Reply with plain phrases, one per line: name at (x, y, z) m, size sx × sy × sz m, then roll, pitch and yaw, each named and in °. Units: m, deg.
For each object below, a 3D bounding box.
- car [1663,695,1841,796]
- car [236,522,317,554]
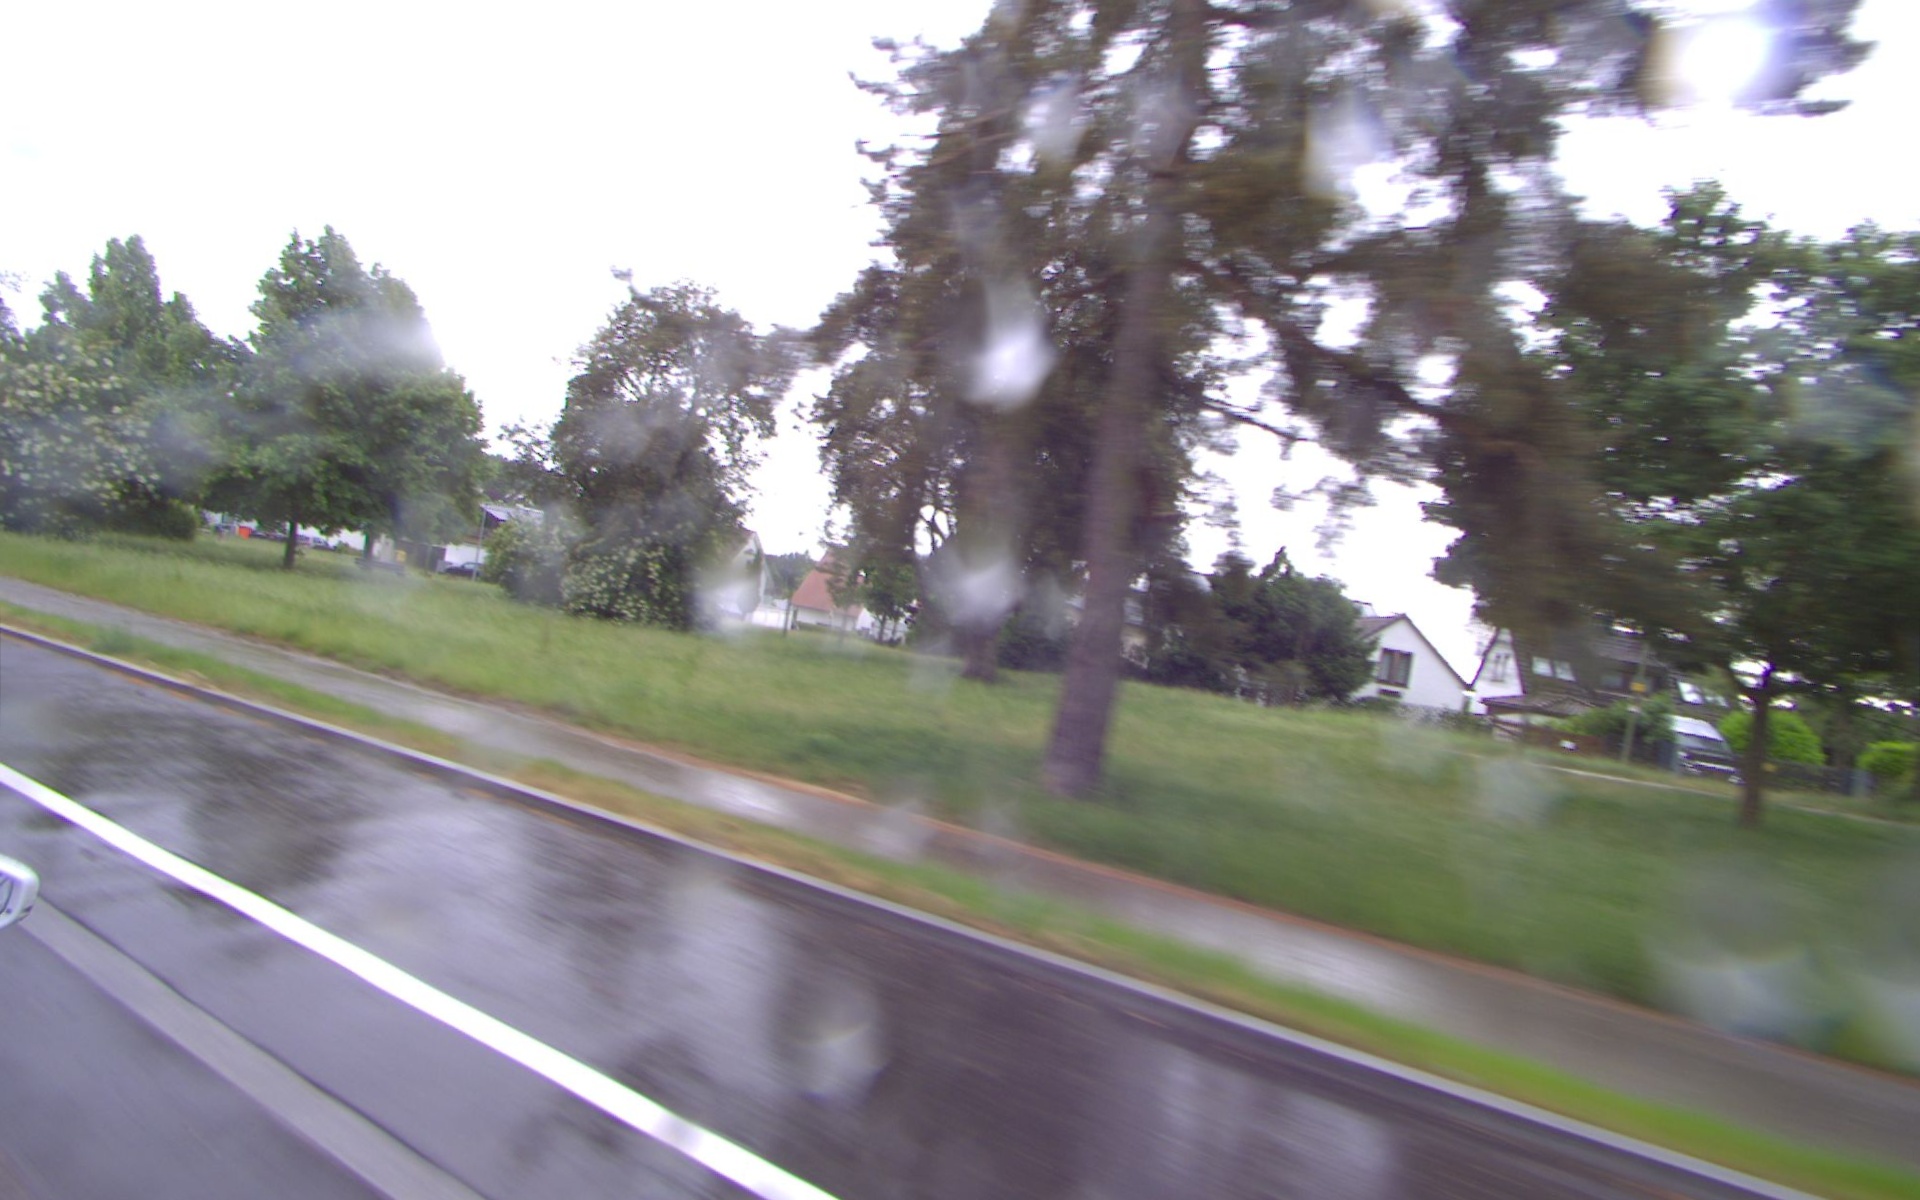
car at (27.511, 4.941, 35.350) m, size 2.565 × 2.528 × 6.688 m, roll 10°, pitch 0°, yaw 20°
car at (-51.388, -4.640, 75.717) m, size 4.480 × 1.771 × 1.910 m, roll 6°, pitch 0°, yaw -9°
